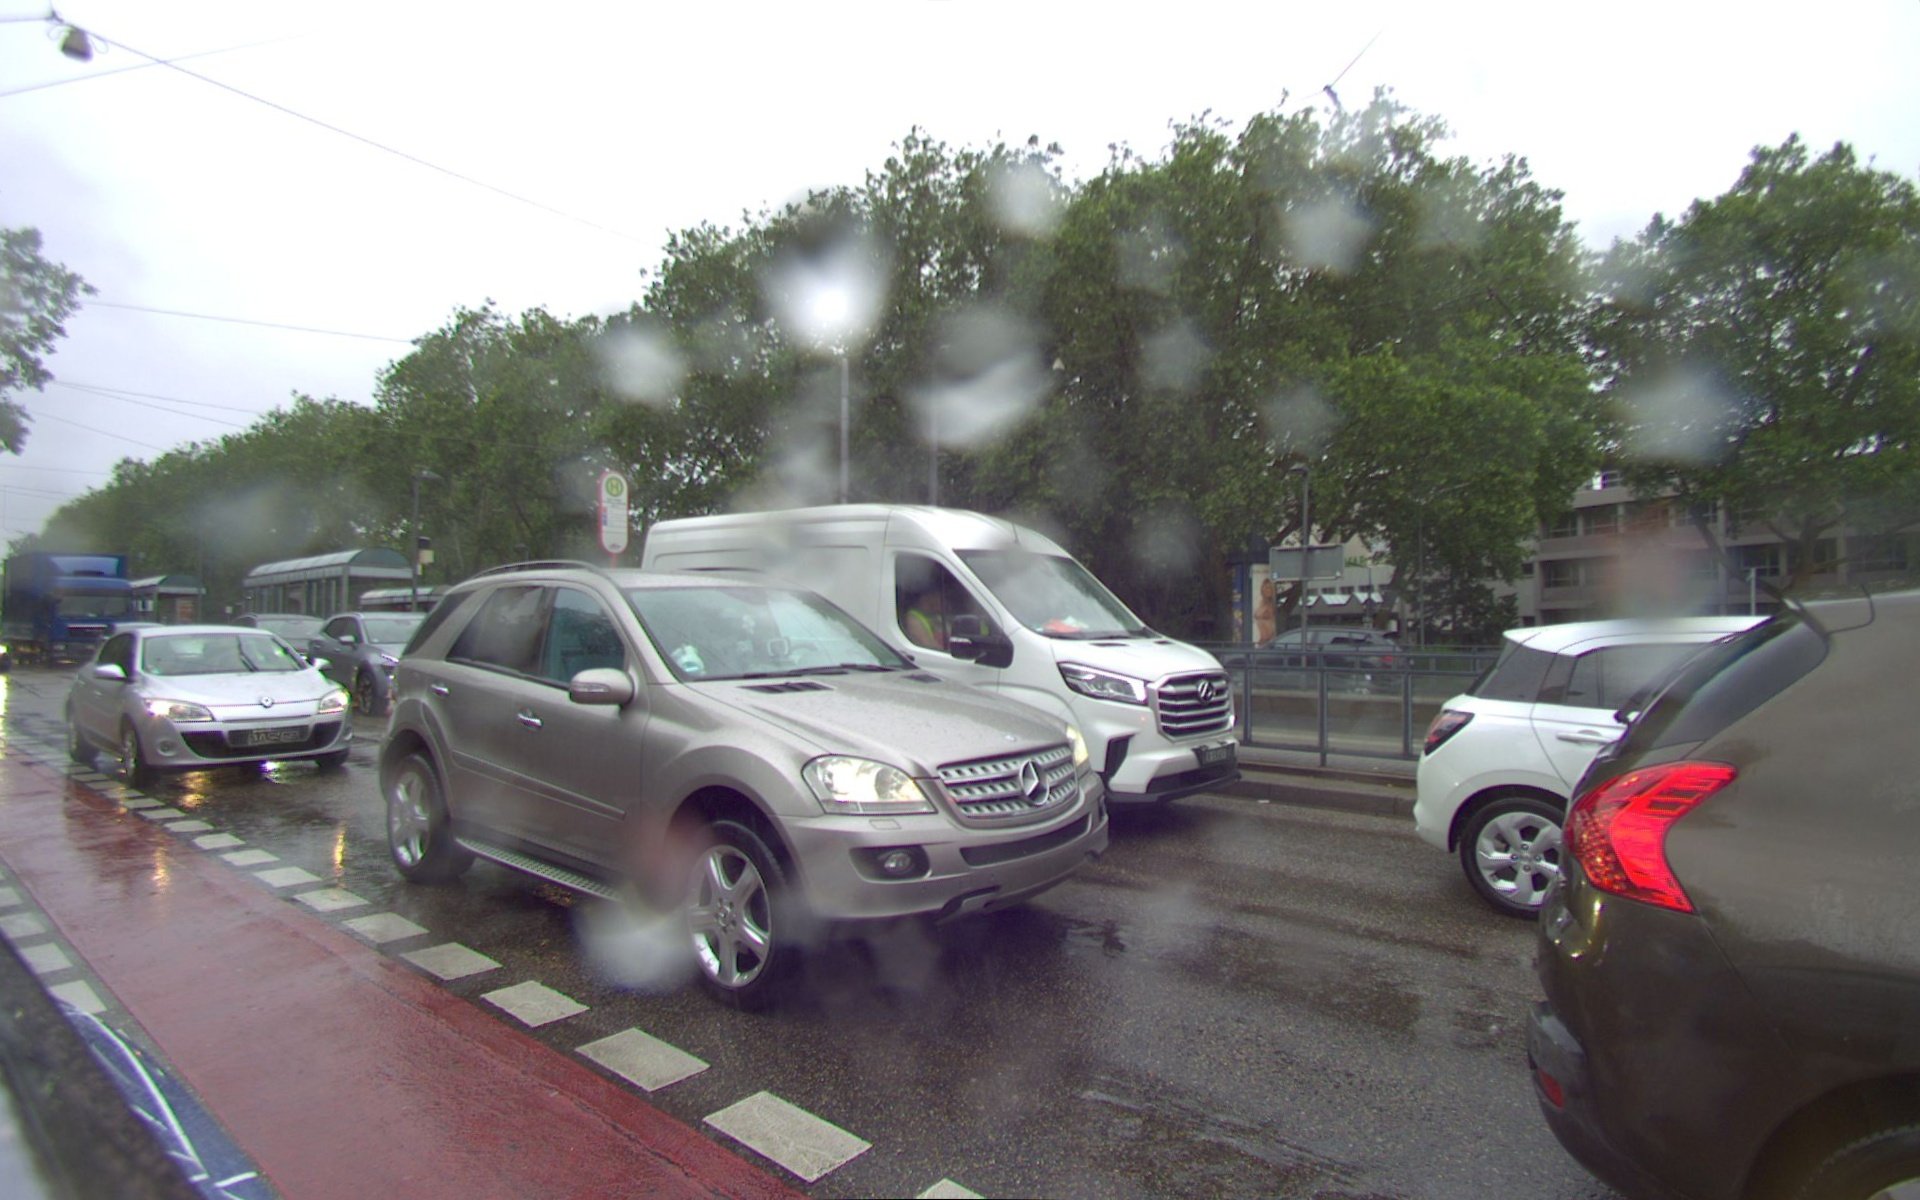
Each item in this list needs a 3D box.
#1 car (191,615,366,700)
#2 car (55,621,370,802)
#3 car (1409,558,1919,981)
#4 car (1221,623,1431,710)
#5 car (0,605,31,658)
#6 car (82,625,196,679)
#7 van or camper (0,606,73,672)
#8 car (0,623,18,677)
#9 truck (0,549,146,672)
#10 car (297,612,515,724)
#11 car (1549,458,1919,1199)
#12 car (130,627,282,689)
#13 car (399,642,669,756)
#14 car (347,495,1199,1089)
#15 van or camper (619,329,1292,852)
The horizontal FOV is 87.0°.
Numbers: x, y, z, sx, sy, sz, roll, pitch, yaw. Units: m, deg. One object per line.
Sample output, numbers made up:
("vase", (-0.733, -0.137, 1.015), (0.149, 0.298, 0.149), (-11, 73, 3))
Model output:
("car", (-14.648, 1.168, 21.675), (4.316, 1.633, 1.974), (-1, -2, 40))
("car", (-7.784, 0.973, 10.409), (3.998, 1.489, 1.750), (-1, -1, 40))
("car", (4.277, 0.671, 4.540), (3.834, 1.641, 1.628), (-1, -2, 41))
("car", (8.130, 1.393, 22.653), (3.998, 1.735, 1.973), (-1, -1, 41))
("car", (-46.718, 1.526, 49.097), (5.727, 2.445, 1.972), (-1, 0, 43))
("car", (-24.439, 1.483, 30.086), (4.074, 1.498, 1.871), (-1, -2, 40))
("van or camper", (-40.042, 1.625, 43.542), (6.427, 2.590, 1.973), (-1, 0, 41))
("car", (-30.222, 1.501, 30.726), (3.997, 1.590, 1.875), (-1, -2, 40))
("truck", (-32.160, 0.455, 36.333), (9.803, 3.919, 2.513), (-1, -3, 40))
("car", (-9.446, 1.062, 17.101), (4.454, 1.636, 1.894), (-1, -3, 43))
("car", (3.287, 0.595, 1.234), (4.170, 1.681, 1.815), (-1, -1, 41))
("car", (-18.830, 1.387, 25.200), (4.602, 1.405, 1.973), (-1, -3, 40))
("car", (-5.448, 1.135, 12.708), (4.084, 1.126, 1.448), (-1, -1, 40))
("car", (-1.261, 0.609, 5.265), (4.459, 1.783, 2.004), (-1, -1, 40))
("van or camper", (-0.378, 0.002, 8.819), (5.846, 3.166, 2.136), (-1, -2, 40))
